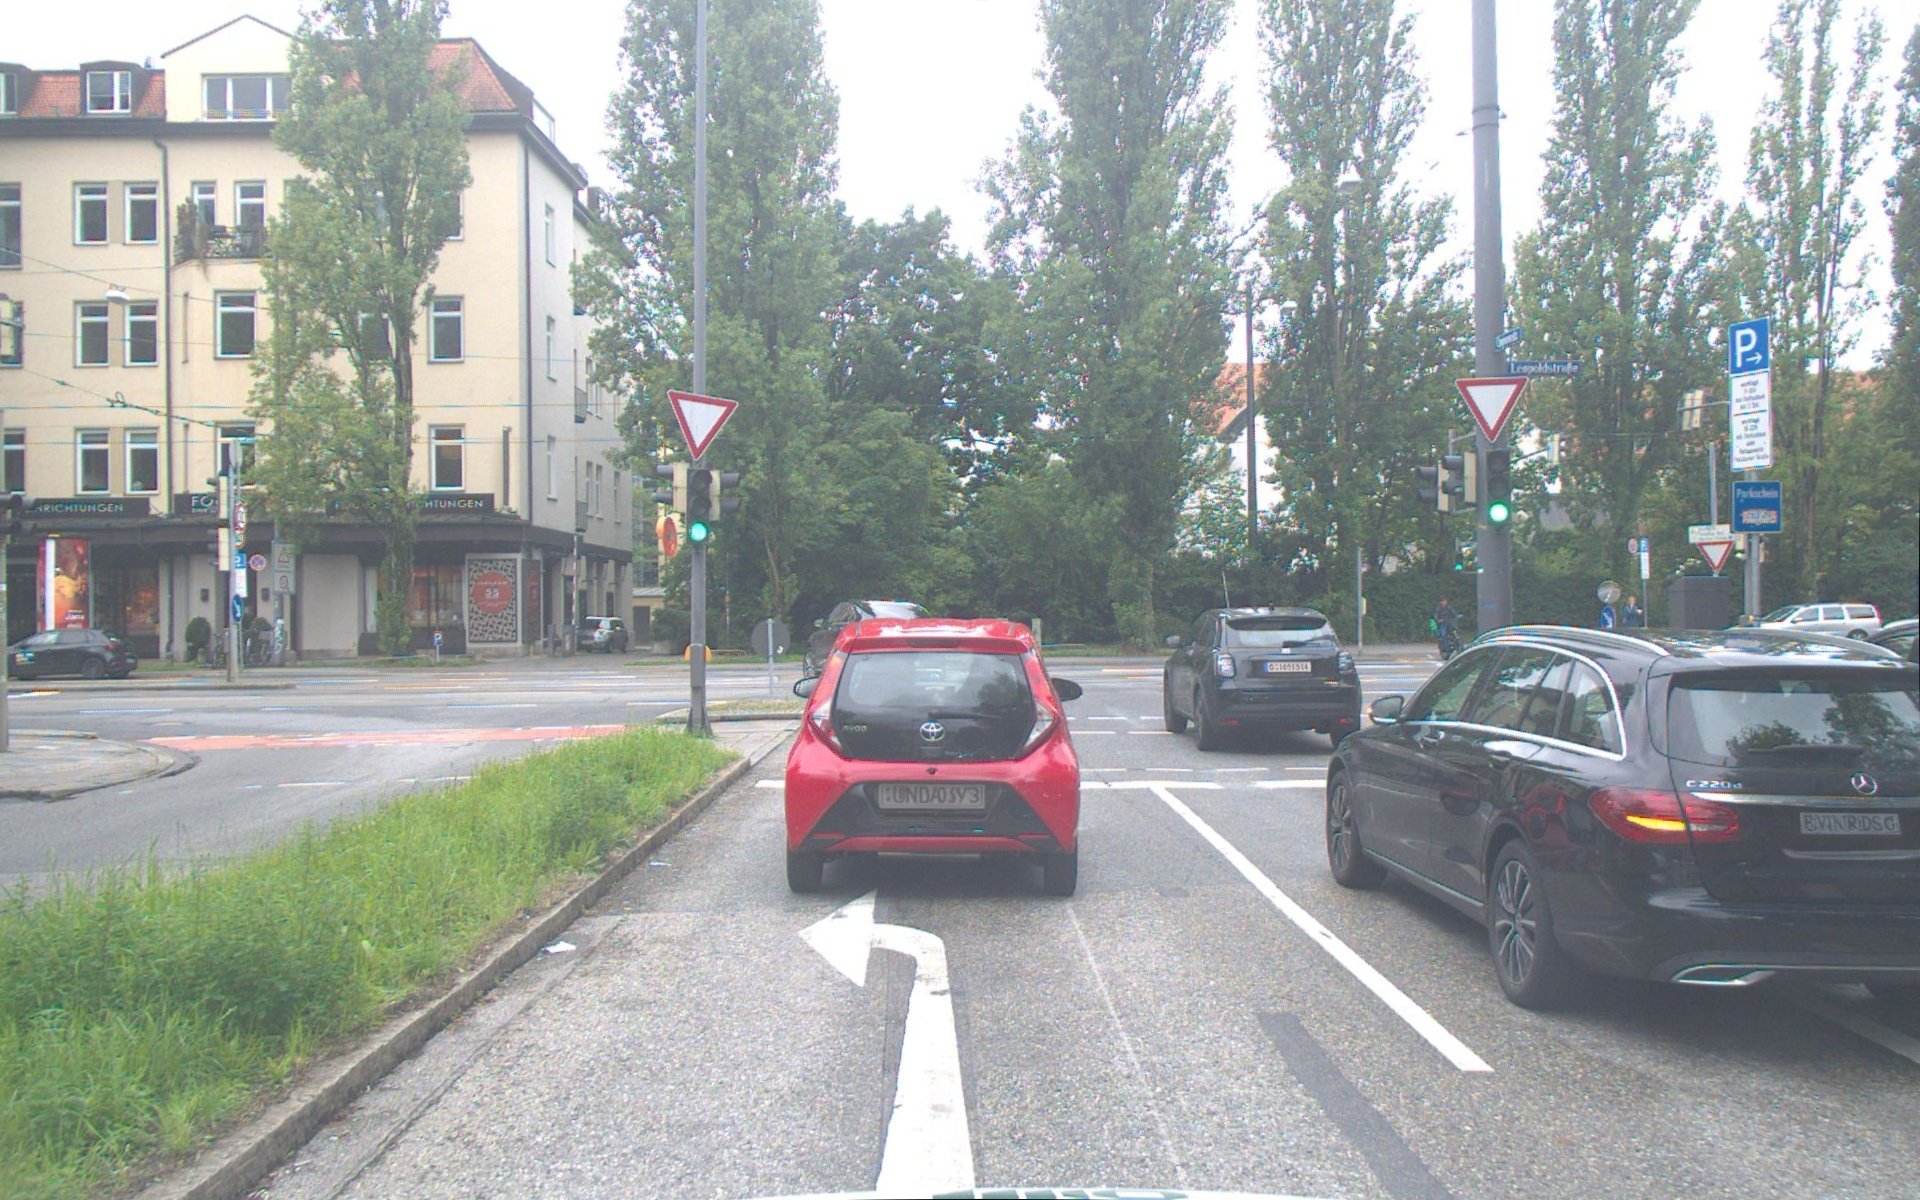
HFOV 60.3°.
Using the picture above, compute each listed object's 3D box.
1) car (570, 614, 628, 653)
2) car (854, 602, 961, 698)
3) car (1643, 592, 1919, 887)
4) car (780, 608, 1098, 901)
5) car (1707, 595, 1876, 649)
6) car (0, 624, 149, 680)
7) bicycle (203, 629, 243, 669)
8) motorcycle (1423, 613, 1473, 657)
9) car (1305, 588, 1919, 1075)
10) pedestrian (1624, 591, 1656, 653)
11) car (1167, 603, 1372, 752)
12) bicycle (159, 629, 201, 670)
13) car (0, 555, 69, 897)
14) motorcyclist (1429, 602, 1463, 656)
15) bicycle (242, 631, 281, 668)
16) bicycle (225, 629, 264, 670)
[{"bbox_3d":[-14.552,1.325,66.792,1.691,1.467,3.997,-1,0,-4],"label":"car"},{"bbox_3d":[-0.874,0.847,29.938,1.700,1.576,4.576,-1,0,1],"label":"car"},{"bbox_3d":[6.024,0.740,10.160,1.793,1.576,4.554,-1,0,0],"label":"car"},{"bbox_3d":[-0.085,0.794,10.091,1.595,1.465,3.377,-1,0,1],"label":"car"},{"bbox_3d":[25.217,0.670,50.249,4.251,1.512,1.786,-1,-1,-2],"label":"car"},{"bbox_3d":[-25.244,1.465,46.584,3.909,1.492,1.803,-1,-1,-5],"label":"car"},{"bbox_3d":[-22.683,1.496,50.925,0.485,1.206,1.888,-1,-1,-3],"label":"bicycle"},{"bbox_3d":[13.469,0.972,45.698,0.616,1.190,2.027,1,-1,-5],"label":"motorcycle"},{"bbox_3d":[3.036,0.777,7.763,1.825,1.576,4.703,1,0,0],"label":"car"},{"bbox_3d":[18.648,0.600,45.355,0.689,1.692,0.549,0,-2,40],"label":"pedestrian"},{"bbox_3d":[3.450,0.828,19.112,1.744,1.512,4.001,-1,-1,2],"label":"car"},{"bbox_3d":[-24.012,1.502,50.911,0.485,1.206,1.888,-1,-1,-3],"label":"bicycle"},{"bbox_3d":[-5.637,0.661,6.195,2.061,1.666,4.937,-2,1,-3],"label":"car"},{"bbox_3d":[13.459,0.807,45.806,0.607,1.468,0.881,1,-1,-6],"label":"motorcyclist"},{"bbox_3d":[-21.482,1.521,50.920,0.485,1.101,1.888,-1,0,-3],"label":"bicycle"},{"bbox_3d":[-21.996,1.505,50.859,0.485,1.206,1.888,-1,-1,-3],"label":"bicycle"}]
